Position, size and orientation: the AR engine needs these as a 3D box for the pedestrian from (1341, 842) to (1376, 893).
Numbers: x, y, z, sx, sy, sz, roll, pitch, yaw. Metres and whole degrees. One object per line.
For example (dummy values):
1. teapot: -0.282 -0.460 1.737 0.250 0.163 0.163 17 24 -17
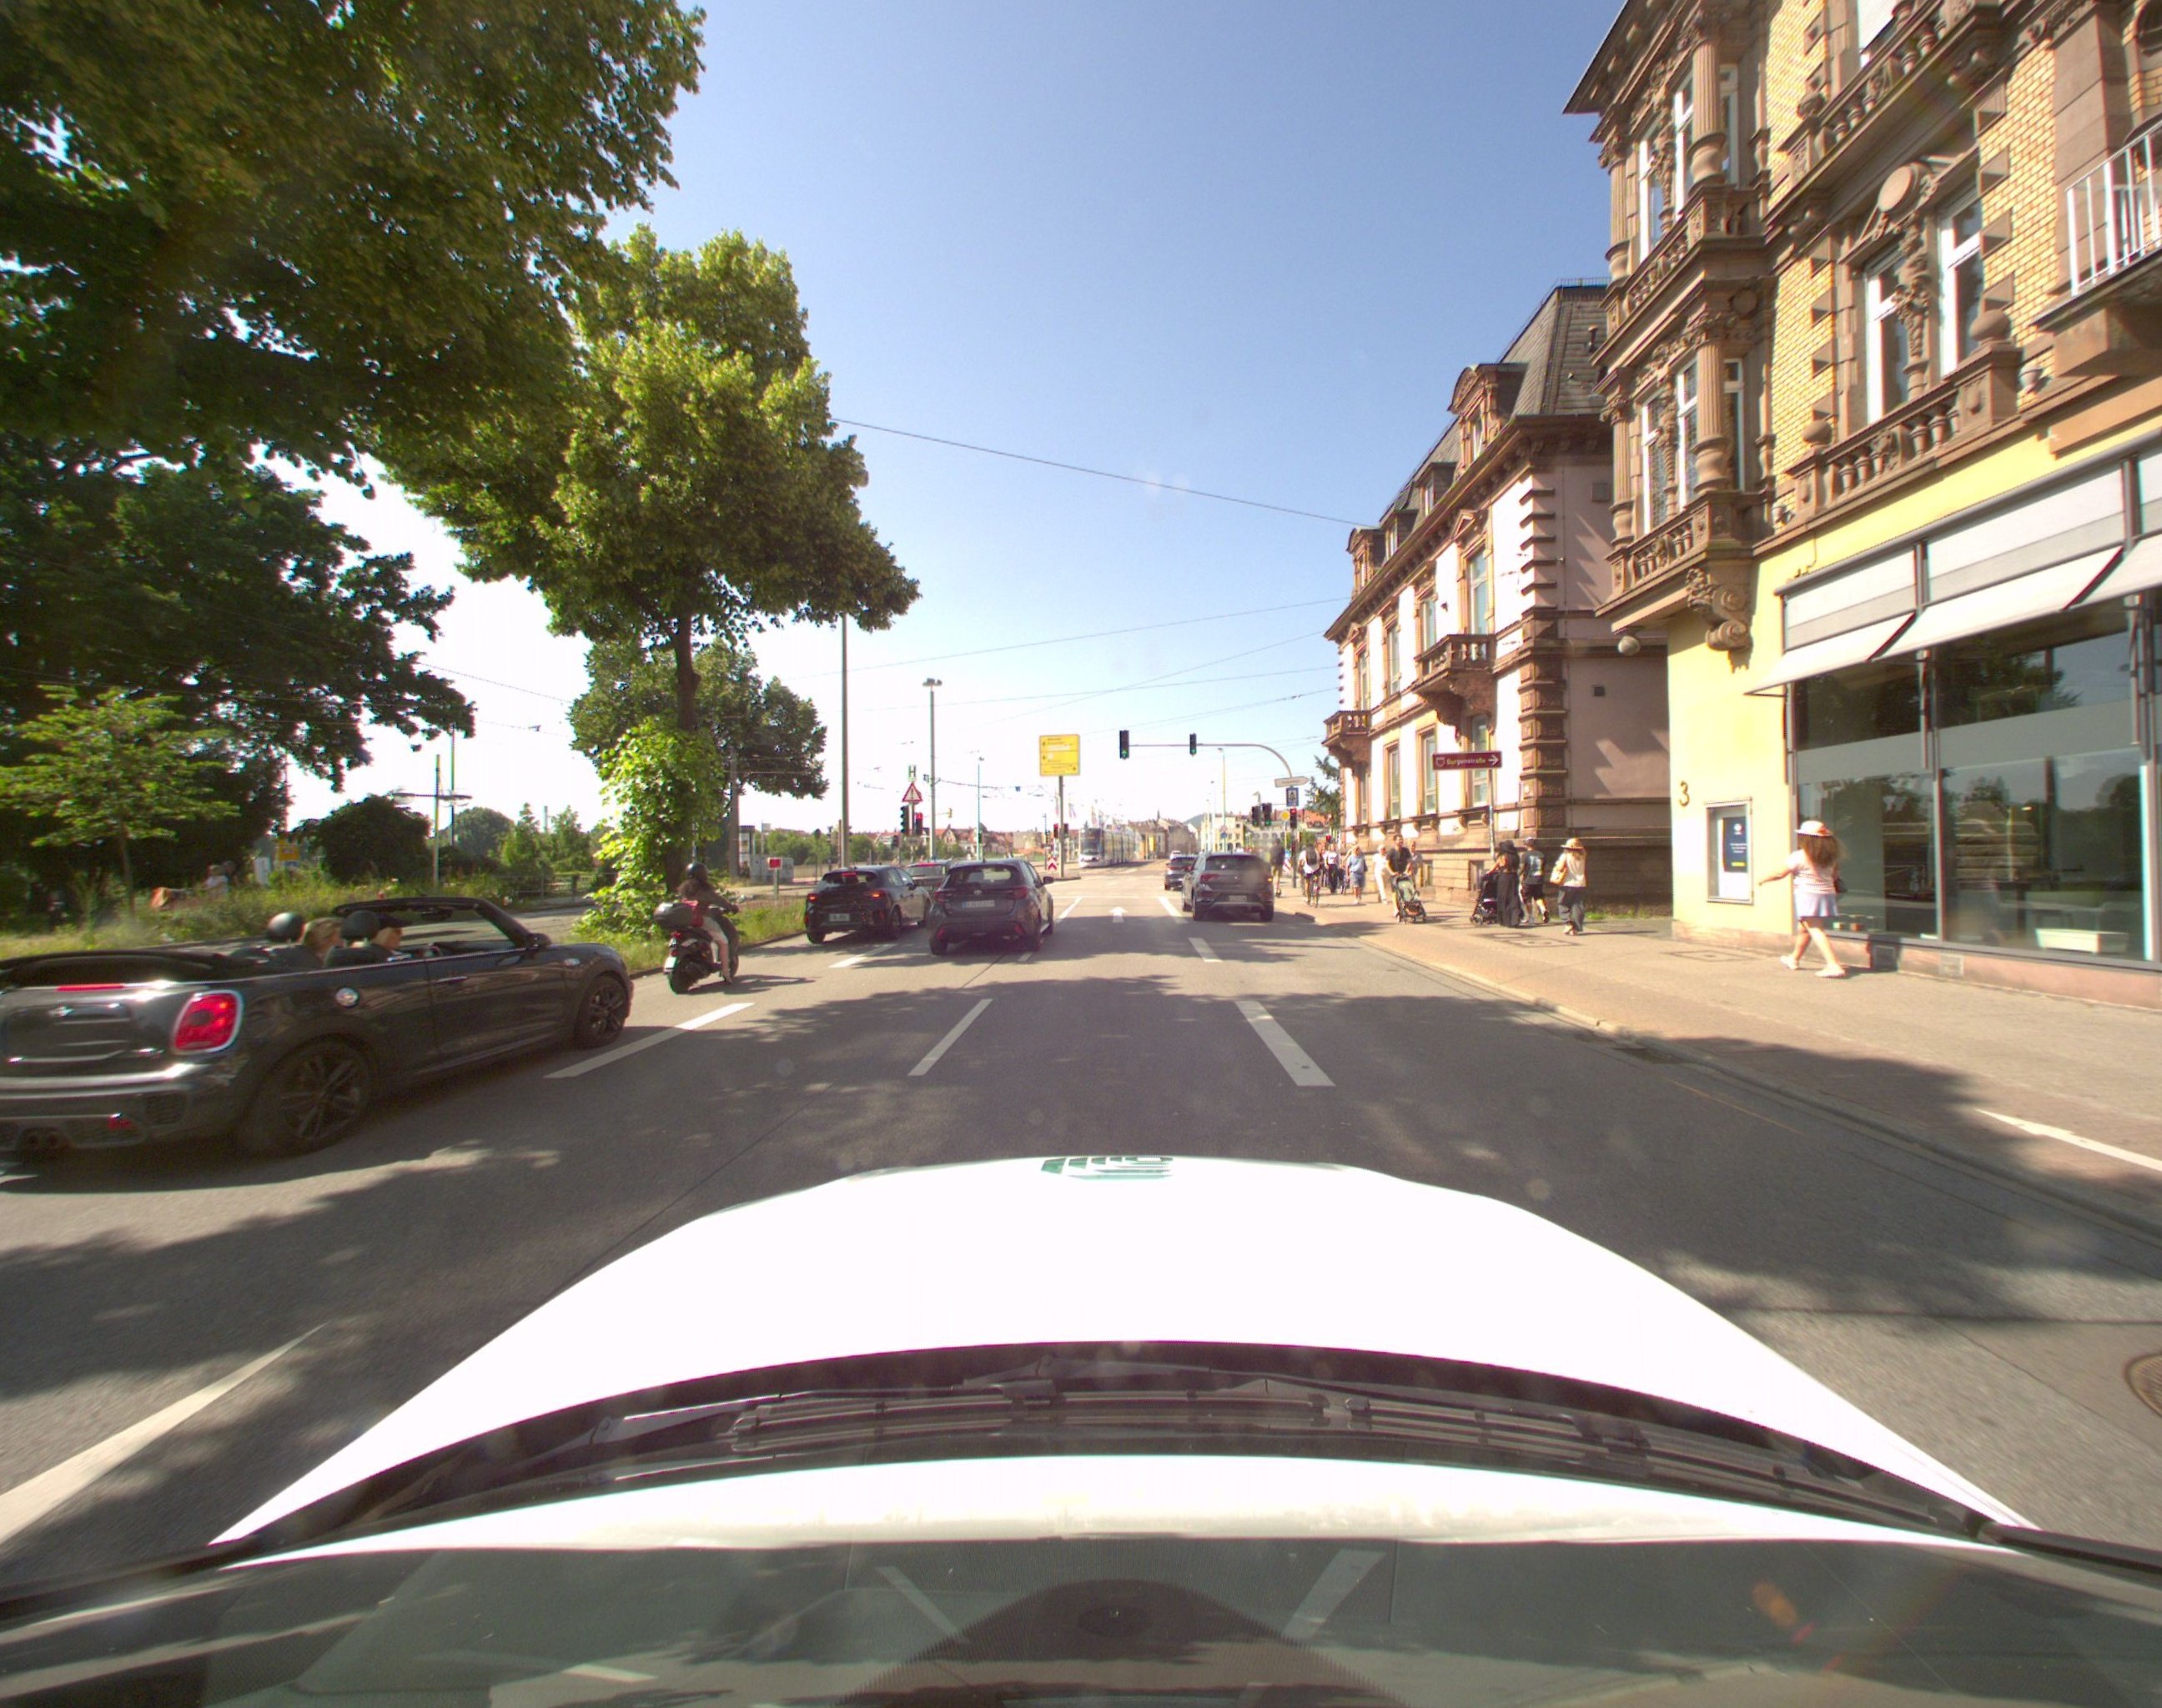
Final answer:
1. pedestrian: 9.196 0.433 27.042 0.859 1.640 0.876 1 -1 1

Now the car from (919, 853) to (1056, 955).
1. car: -1.474 0.781 14.282 1.770 1.475 4.001 -2 -1 2

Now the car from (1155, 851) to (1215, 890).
1. car: 4.259 0.673 33.844 1.987 1.493 4.000 1 -1 0

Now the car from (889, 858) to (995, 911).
1. car: -3.827 0.813 23.173 2.028 1.332 4.004 1 -1 4

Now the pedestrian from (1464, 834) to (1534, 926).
1. pedestrian: 7.763 0.475 15.157 0.859 1.640 0.876 1 -1 1

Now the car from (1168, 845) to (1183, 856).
1. car: 13.467 -0.485 116.245 1.850 1.507 4.004 1 -1 4

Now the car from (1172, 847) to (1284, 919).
1. car: 3.359 0.642 19.345 1.868 1.493 3.998 1 -1 -1

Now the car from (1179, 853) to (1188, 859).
1. car: 25.756 0.492 204.510 1.850 1.507 4.004 1 -1 4

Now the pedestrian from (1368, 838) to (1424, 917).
1. pedestrian: 6.767 0.505 17.541 0.859 1.640 0.876 1 -1 1

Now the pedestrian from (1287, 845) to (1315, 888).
1. pedestrian: 8.687 0.497 32.119 0.859 1.640 0.876 1 -1 1

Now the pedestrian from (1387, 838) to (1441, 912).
1. pedestrian: 7.654 0.467 18.755 0.859 1.640 0.876 -1 0 1

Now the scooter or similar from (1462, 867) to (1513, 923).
1. scooter or similar: 7.883 0.784 15.829 0.598 1.047 0.800 1 -1 1

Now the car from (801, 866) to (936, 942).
1. car: -4.251 0.947 16.920 1.445 1.301 4.004 -3 -1 4

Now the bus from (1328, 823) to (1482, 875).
1. bus: 19.319 -0.260 48.614 8.633 2.776 2.962 1 -1 -17

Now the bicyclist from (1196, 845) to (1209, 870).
1. bicyclist: 7.831 0.214 52.599 0.686 1.577 1.050 1 -1 2

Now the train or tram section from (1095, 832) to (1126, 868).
1. train or tram section: 3.376 -0.457 91.981 2.808 3.777 8.240 1 0 6

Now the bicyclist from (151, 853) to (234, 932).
1. bicyclist: -22.089 0.942 20.264 0.839 1.899 1.032 1 -1 6

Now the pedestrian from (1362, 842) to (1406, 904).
1. pedestrian: 8.291 0.516 22.301 0.859 1.640 0.876 1 -1 1

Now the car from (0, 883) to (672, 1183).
1. car: -5.032 0.951 5.954 1.807 1.332 4.004 -2 -1 4

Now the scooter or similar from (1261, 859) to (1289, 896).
1. scooter or similar: 6.319 0.752 26.533 0.685 1.167 1.466 1 -1 6

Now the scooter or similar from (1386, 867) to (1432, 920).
1. scooter or similar: 6.755 0.798 16.788 0.598 1.047 0.800 -3 -1 1

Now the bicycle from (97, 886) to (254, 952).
1. bicycle: -22.137 1.543 20.019 0.839 1.424 2.506 1 -1 6

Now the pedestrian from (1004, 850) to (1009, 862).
1. pedestrian: -8.815 0.230 96.538 0.556 1.416 0.636 1 -1 1

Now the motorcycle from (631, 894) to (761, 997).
1. motorcycle: -4.860 1.115 10.445 0.696 1.064 1.910 -2 0 0

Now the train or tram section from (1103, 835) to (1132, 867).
1. train or tram section: 4.572 -0.357 100.242 2.807 3.777 8.244 1 0 8

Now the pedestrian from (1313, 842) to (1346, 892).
1. pedestrian: 8.377 0.446 27.471 0.859 1.640 0.876 1 -1 1

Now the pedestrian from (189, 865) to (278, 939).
1. pedestrian: -22.793 1.260 21.935 0.974 1.891 1.255 1 -1 6

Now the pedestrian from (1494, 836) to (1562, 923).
1. pedestrian: 8.823 0.496 16.117 0.859 1.640 0.876 1 -1 1

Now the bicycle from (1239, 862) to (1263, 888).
1. bicycle: 7.391 0.895 35.452 0.731 1.093 1.899 1 -1 3

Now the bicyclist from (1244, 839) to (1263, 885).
1. bicyclist: 7.475 0.341 35.358 0.685 1.962 0.779 1 -1 3

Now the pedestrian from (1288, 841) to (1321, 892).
1. pedestrian: 7.446 0.422 27.119 0.859 1.640 0.876 1 -1 1

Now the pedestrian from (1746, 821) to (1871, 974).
1. pedestrian: 8.102 0.466 9.107 0.652 1.621 0.816 -1 0 1

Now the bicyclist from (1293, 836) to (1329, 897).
1. bicyclist: 6.130 0.327 21.764 0.685 1.577 1.050 1 -1 2

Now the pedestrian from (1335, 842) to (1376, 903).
1. pedestrian: 7.633 0.505 22.695 0.859 1.640 0.876 1 -1 1

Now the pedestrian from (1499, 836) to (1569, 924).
1. pedestrian: 8.749 0.481 15.771 0.859 1.640 0.876 -1 0 1

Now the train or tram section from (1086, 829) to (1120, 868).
1. train or tram section: 2.350 -0.557 83.812 2.808 3.777 8.240 1 0 6

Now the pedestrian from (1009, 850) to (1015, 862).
1. pedestrian: -8.151 0.245 96.513 0.556 1.416 0.636 1 -1 1

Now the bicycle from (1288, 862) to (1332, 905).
1. bicycle: 6.110 0.766 21.807 0.731 1.093 1.899 1 -1 3

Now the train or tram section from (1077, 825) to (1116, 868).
1. train or tram section: 1.560 -0.657 75.675 2.808 3.777 8.240 1 0 6

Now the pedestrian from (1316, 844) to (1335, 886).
1. pedestrian: 9.723 0.452 32.443 0.574 1.640 0.611 1 -1 1

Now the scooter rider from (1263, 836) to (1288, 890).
1. scooter rider: 6.350 0.300 26.595 0.685 1.729 0.779 1 -1 5

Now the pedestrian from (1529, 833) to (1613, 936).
1. pedestrian: 8.152 0.489 13.584 0.859 1.640 0.876 -1 0 1

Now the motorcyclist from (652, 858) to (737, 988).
1. motorcyclist: -4.874 0.849 10.304 0.687 1.556 0.718 -2 -2 0
